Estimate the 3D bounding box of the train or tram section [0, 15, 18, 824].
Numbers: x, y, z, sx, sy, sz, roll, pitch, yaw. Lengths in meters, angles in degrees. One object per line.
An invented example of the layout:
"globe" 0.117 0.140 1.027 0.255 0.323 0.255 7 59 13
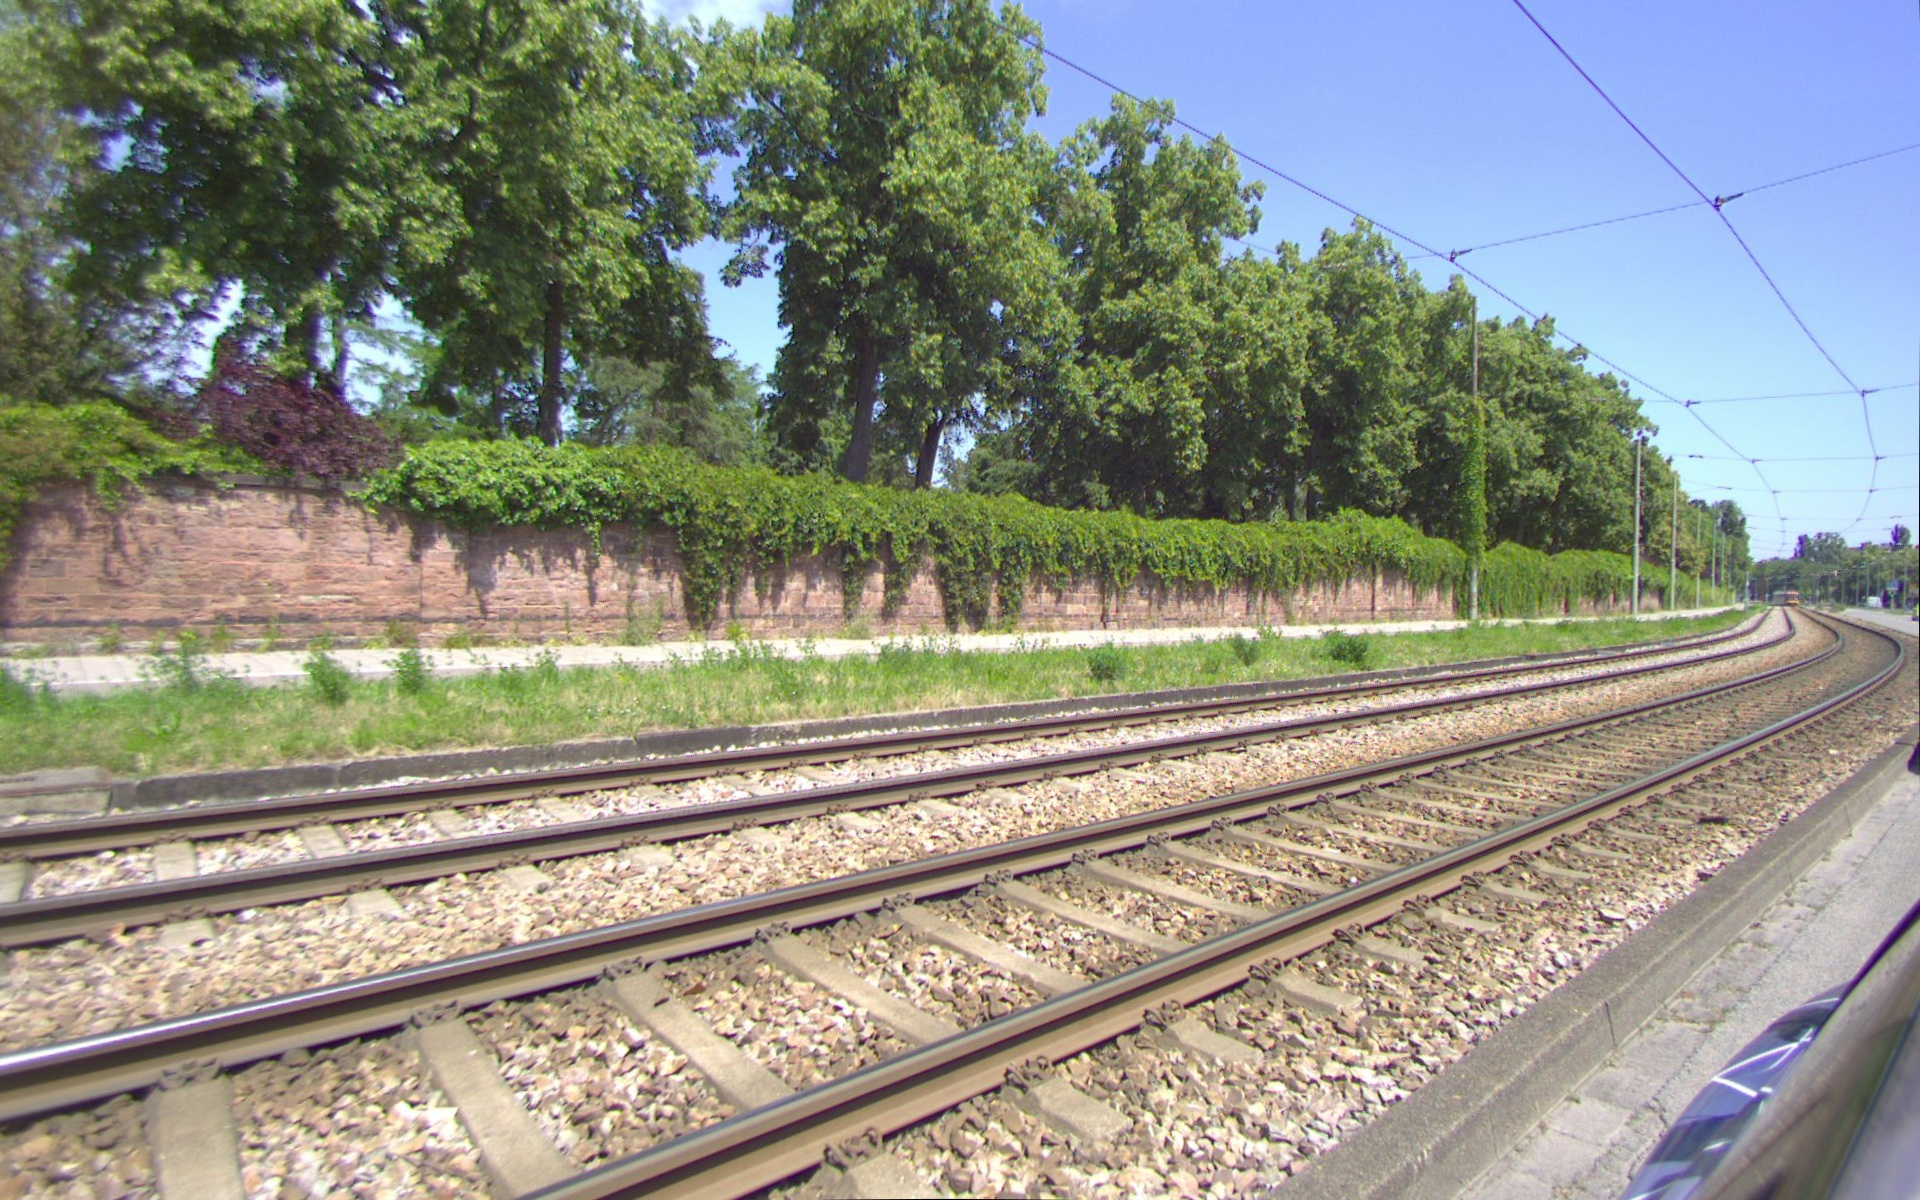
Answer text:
"train or tram section" -9.042 -0.790 0.118 12.855 3.845 3.035 0 2 -40
